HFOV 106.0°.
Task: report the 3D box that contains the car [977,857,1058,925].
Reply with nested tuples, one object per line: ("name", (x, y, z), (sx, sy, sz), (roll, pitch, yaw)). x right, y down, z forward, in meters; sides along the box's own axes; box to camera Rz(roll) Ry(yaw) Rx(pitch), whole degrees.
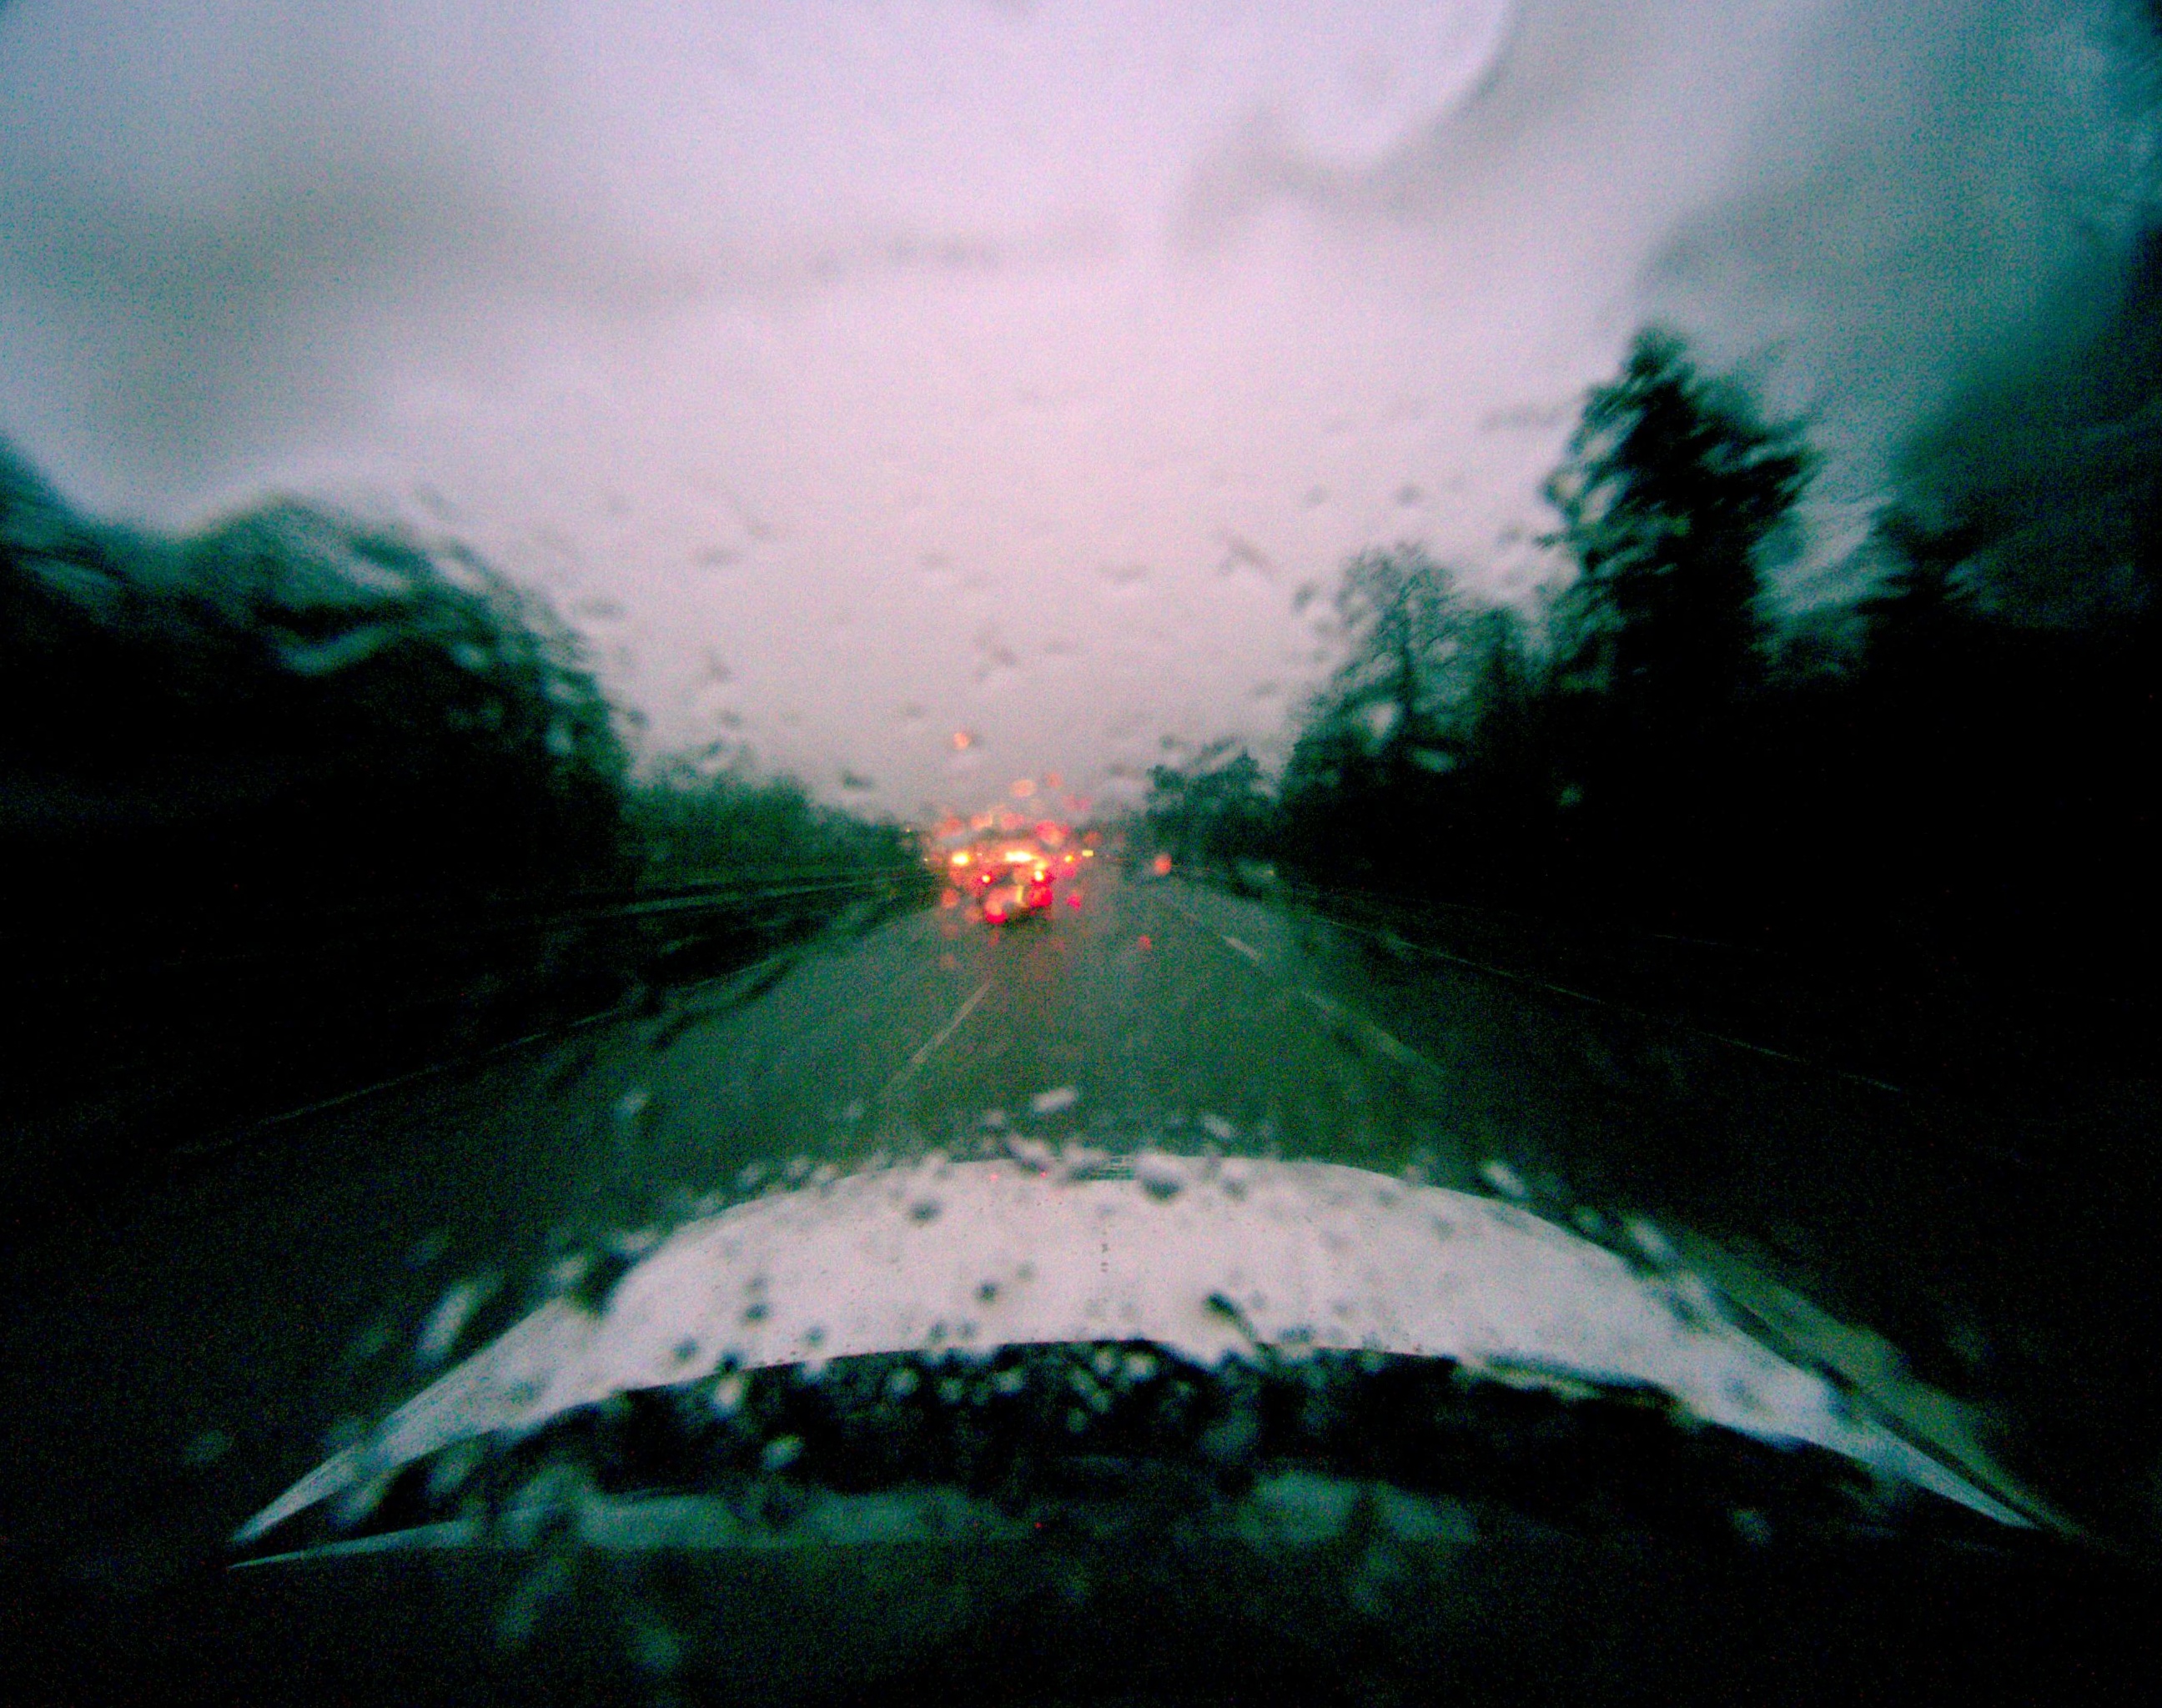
("car", (-1.454, 0.833, 19.850), (1.521, 1.415, 3.481), (2, 0, 2))

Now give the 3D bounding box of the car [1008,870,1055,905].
("car", (-2.342, 1.580, 39.621), (1.769, 1.534, 4.705), (-2, -1, 2))
